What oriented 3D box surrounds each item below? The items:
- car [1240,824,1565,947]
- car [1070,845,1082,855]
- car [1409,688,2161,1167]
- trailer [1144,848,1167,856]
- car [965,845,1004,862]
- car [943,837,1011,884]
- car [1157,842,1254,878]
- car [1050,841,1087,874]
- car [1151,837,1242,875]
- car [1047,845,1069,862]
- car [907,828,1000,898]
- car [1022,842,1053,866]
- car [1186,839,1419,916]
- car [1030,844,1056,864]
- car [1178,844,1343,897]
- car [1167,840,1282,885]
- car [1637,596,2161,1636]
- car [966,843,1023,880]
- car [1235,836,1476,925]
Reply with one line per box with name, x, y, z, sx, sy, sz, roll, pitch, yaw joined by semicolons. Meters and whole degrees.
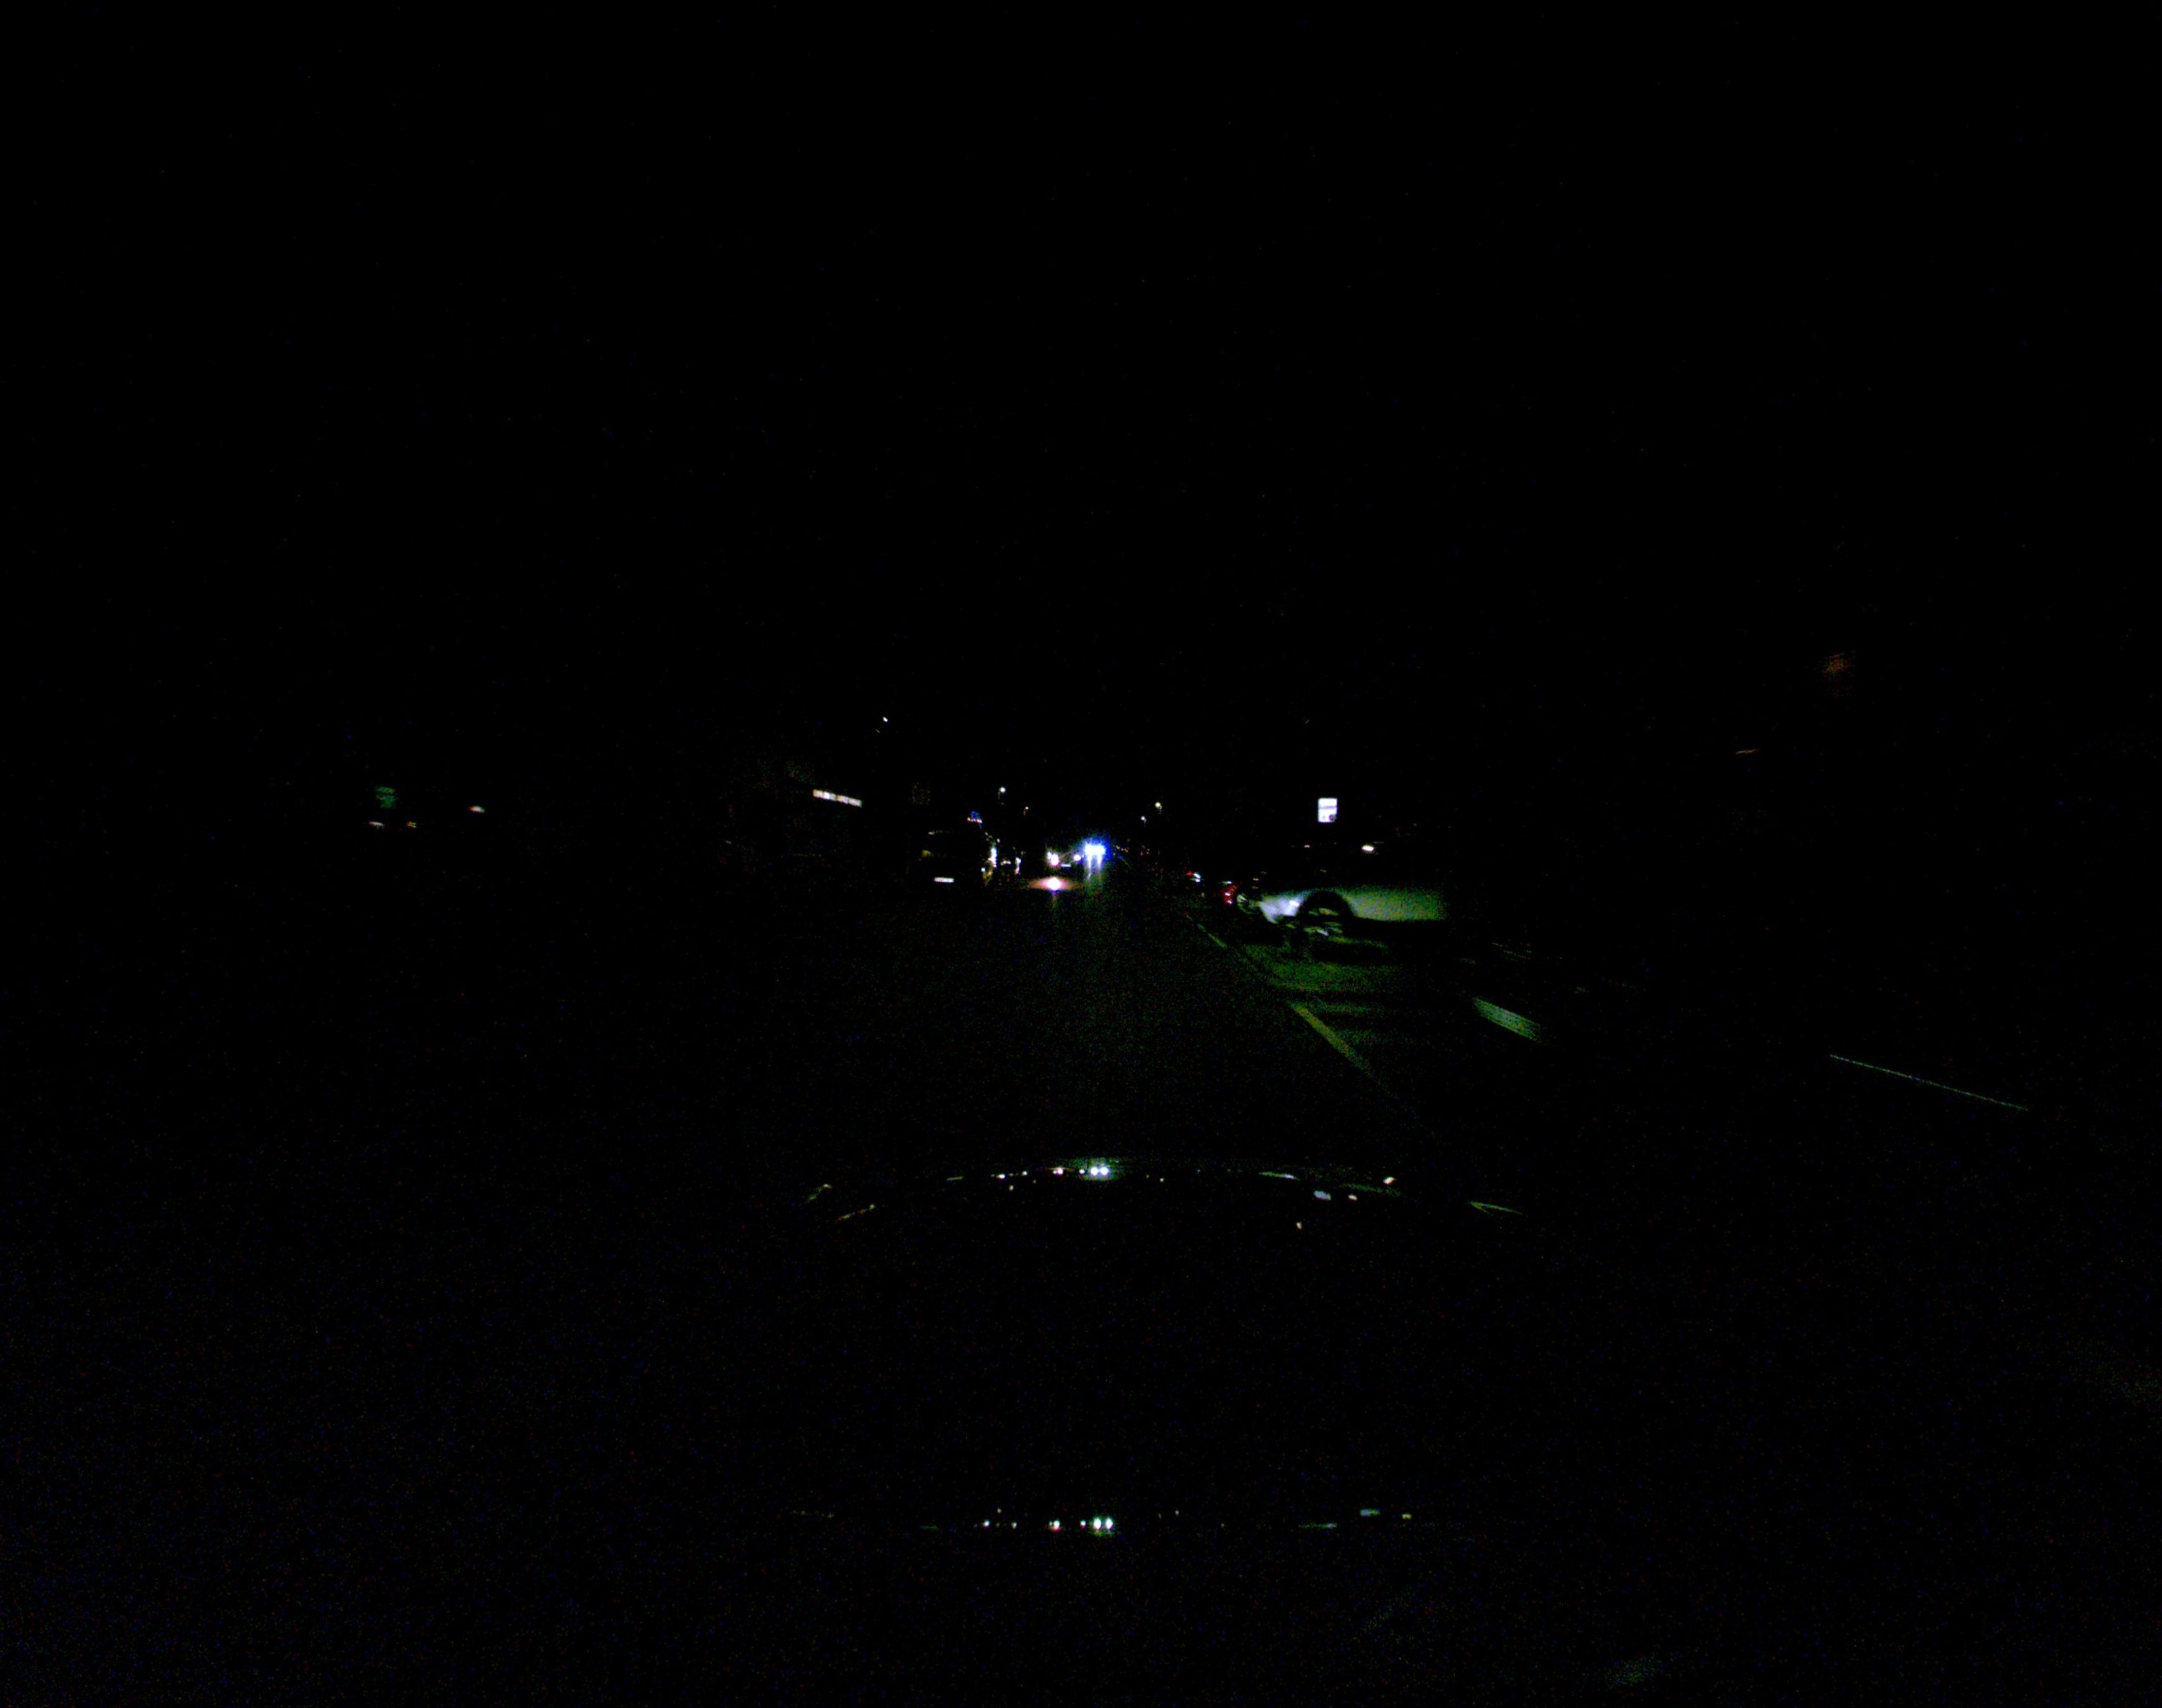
car;4.722;0.420;12.527;4.256;1.697;2.003;0;1;4
car;-0.784;-0.695;134.318;1.665;1.591;3.990;1;0;3
car;4.885;0.307;4.692;5.125;2.096;2.260;0;1;1
trailer;11.571;-0.327;126.304;3.419;1.002;1.955;4;0;1
car;-10.172;-0.080;86.116;3.981;1.702;1.944;-2;1;-6
car;-4.038;0.212;32.353;2.109;1.670;4.169;1;1;0
car;5.300;0.255;35.035;3.902;1.514;1.855;0;0;1
car;-0.644;0.173;44.700;1.712;1.715;3.965;0;1;3
car;5.664;0.073;40.112;4.331;1.816;2.035;0;1;7
car;-2.046;-0.106;73.817;1.743;1.468;4.010;1;1;1
car;-3.864;0.222;25.603;2.109;1.946;4.888;1;1;0
car;-3.098;-0.045;58.717;1.922;1.636;4.472;2;1;1
car;4.726;0.478;17.963;4.636;1.557;2.108;0;1;2
car;-2.930;-0.011;63.863;1.764;1.468;3.967;0;1;1
car;5.058;0.448;23.447;4.380;1.419;1.937;0;1;3
car;5.057;0.284;29.100;3.896;1.551;1.991;0;1;6
car;4.486;0.452;1.711;5.125;1.845;2.260;0;1;1
car;-3.927;0.311;37.693;2.109;1.548;4.477;1;1;0
car;5.087;0.461;15.556;3.971;1.557;2.001;0;1;2
